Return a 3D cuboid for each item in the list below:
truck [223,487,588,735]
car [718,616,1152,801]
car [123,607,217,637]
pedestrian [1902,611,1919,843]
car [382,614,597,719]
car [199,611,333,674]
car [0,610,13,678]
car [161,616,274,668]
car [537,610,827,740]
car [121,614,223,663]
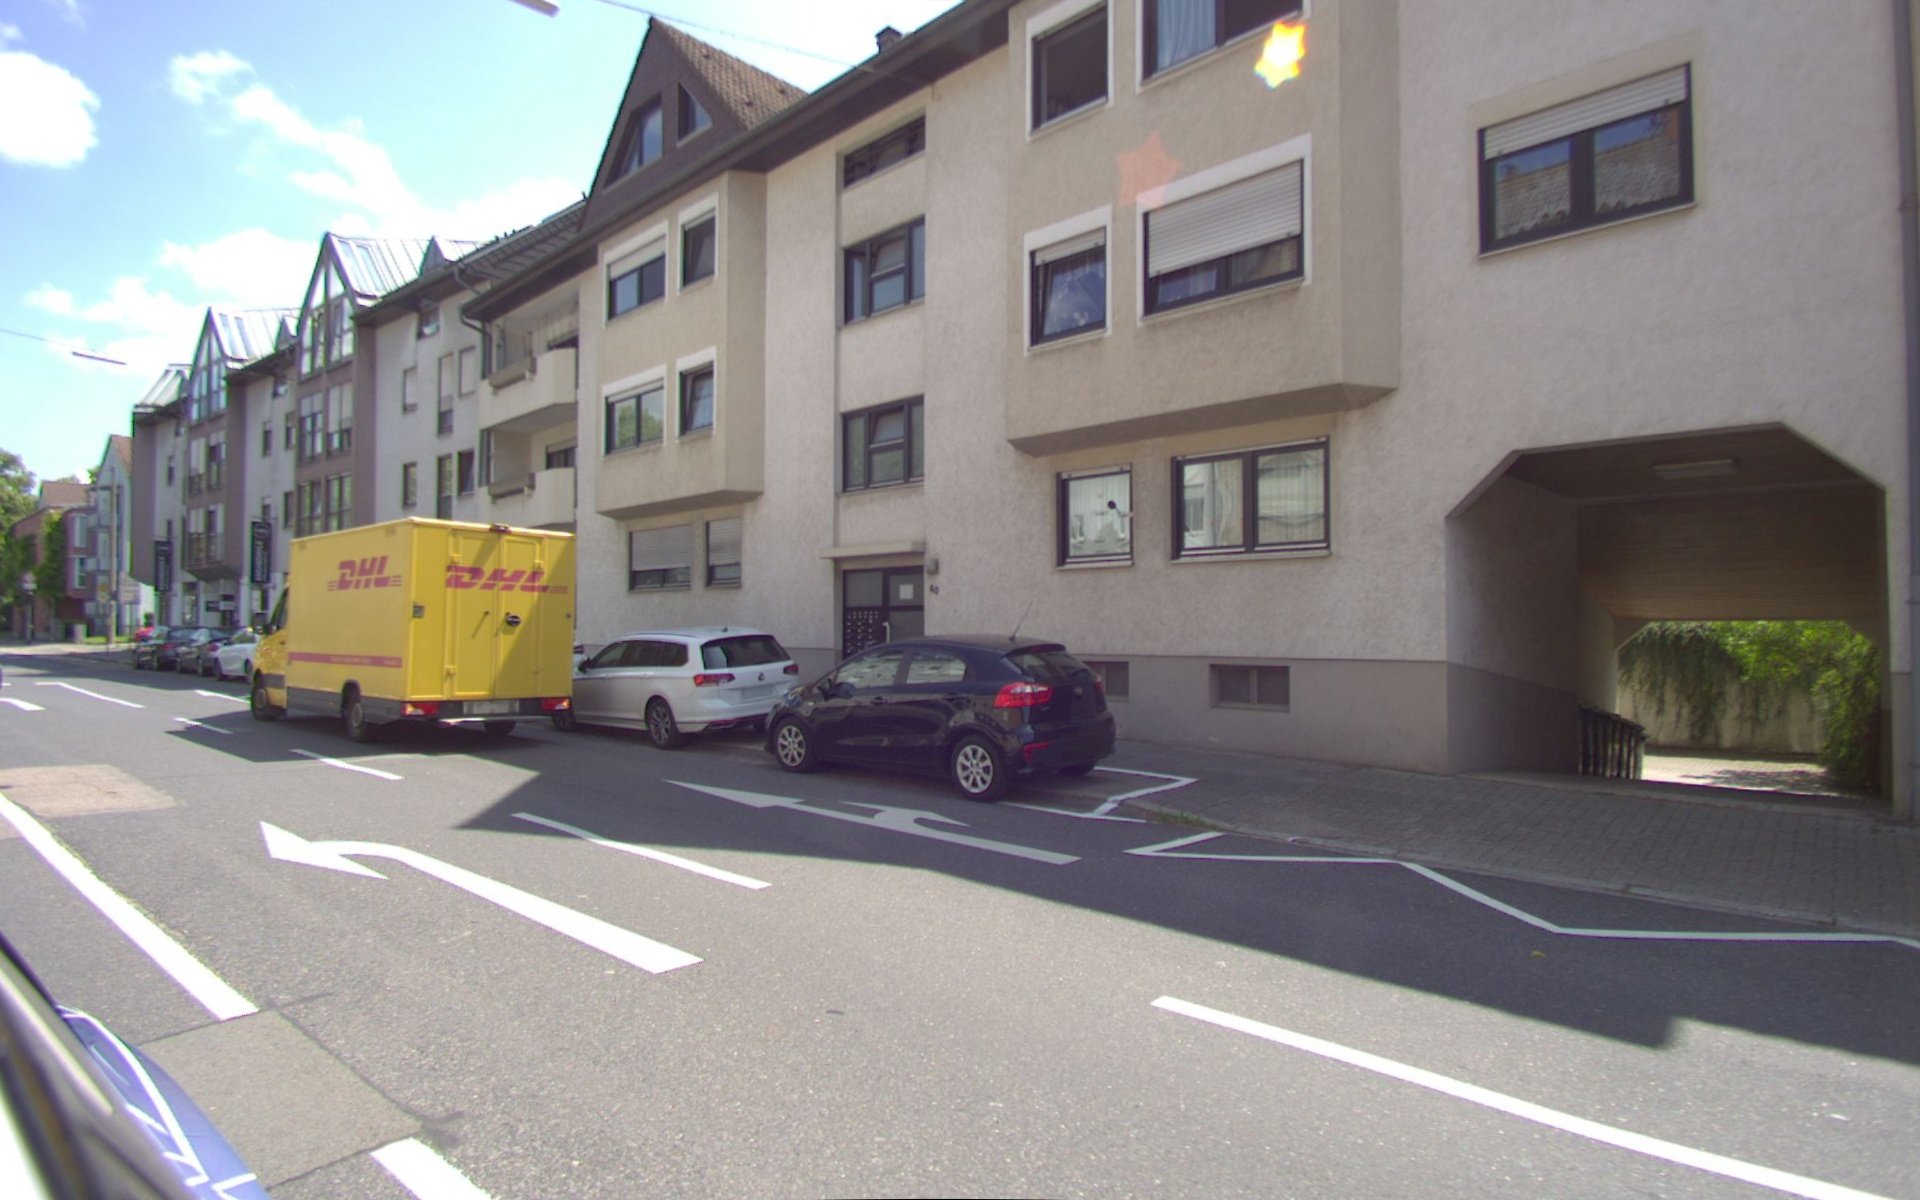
[{"bbox_3d":[-8.360,0.232,14.719,7.562,2.792,2.201,-1,-4,42],"label":"truck"},{"bbox_3d":[-0.425,0.949,10.650,4.499,1.499,1.821,-1,0,40],"label":"car"},{"bbox_3d":[-45.340,1.257,58.152,1.731,1.462,3.949,-3,0,38],"label":"car"},{"bbox_3d":[6.758,0.823,6.522,0.971,1.506,0.601,-2,-1,43],"label":"pedestrian"},{"bbox_3d":[-8.497,1.087,18.127,4.383,1.608,1.821,-1,0,40],"label":"car"},{"bbox_3d":[-18.554,1.071,26.984,4.382,1.500,1.821,-1,0,40],"label":"car"},{"bbox_3d":[-22.140,0.963,22.189,2.717,1.470,1.483,-1,-2,36],"label":"car"},{"bbox_3d":[-22.424,1.215,30.493,4.324,1.394,1.821,-1,0,41],"label":"car"},{"bbox_3d":[-3.990,0.919,14.127,4.385,1.499,1.820,-1,0,42],"label":"car"},{"bbox_3d":[-26.289,1.233,33.690,4.967,1.458,1.820,-1,0,42],"label":"car"}]
